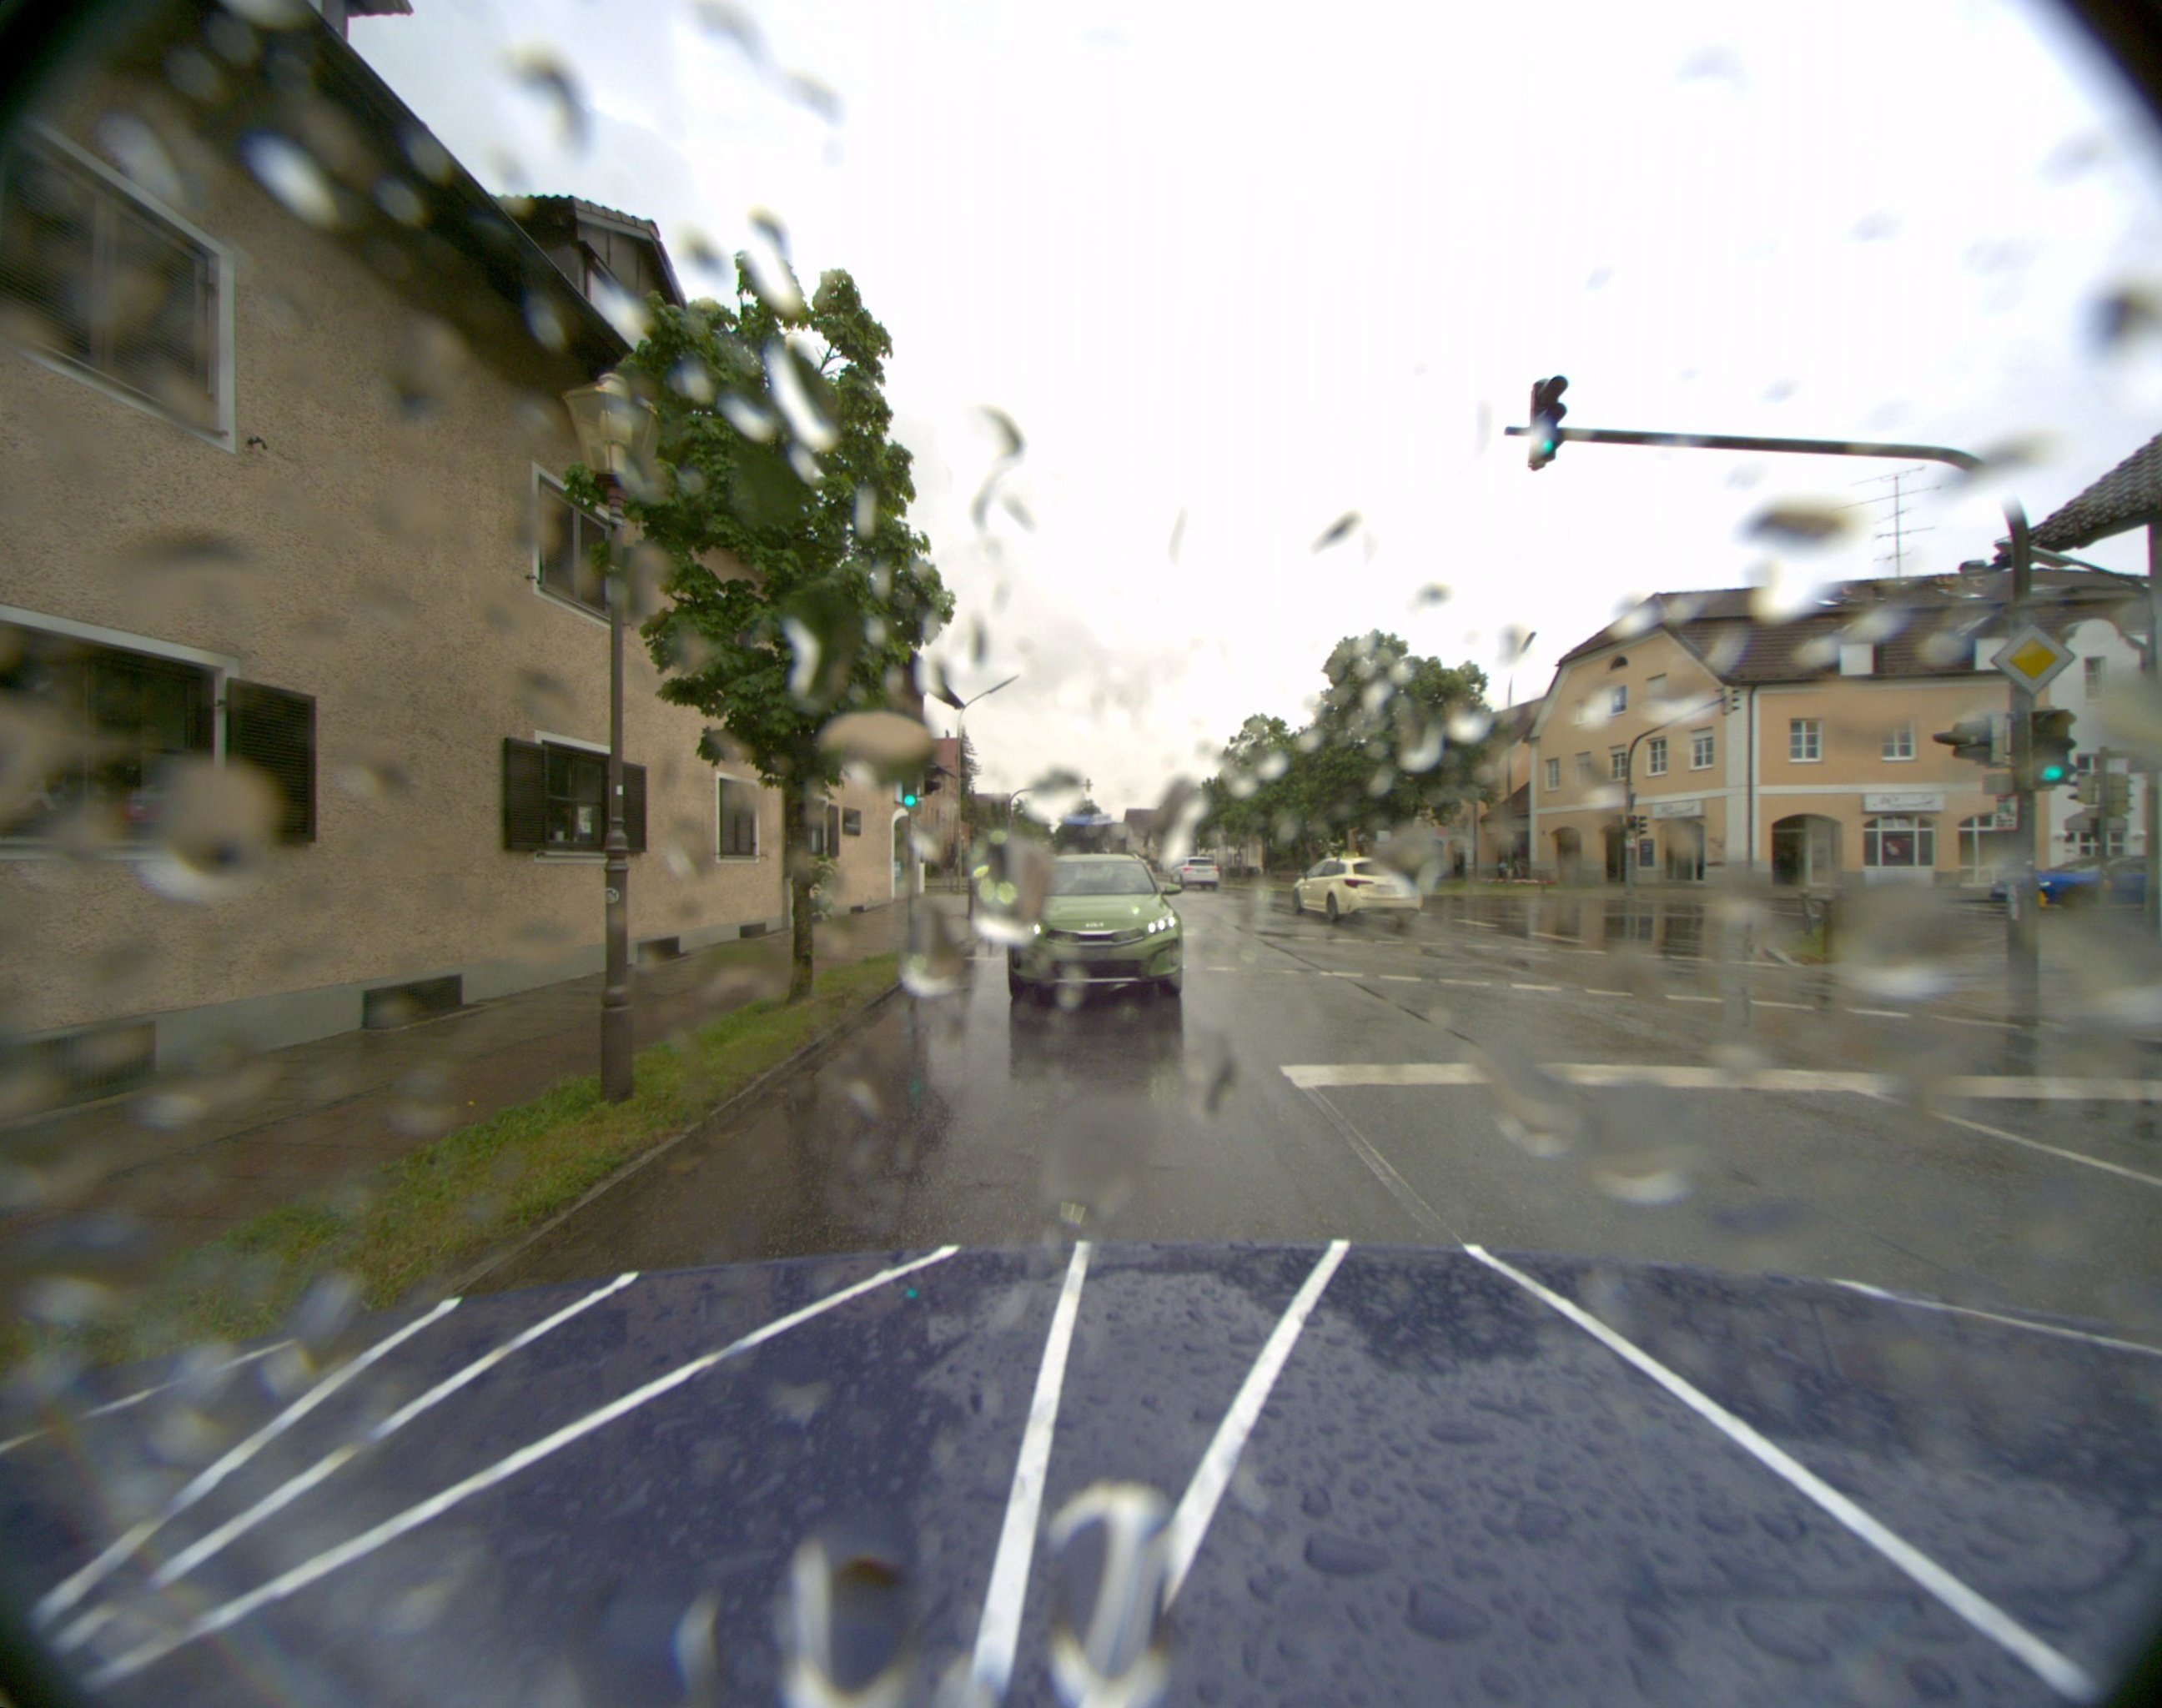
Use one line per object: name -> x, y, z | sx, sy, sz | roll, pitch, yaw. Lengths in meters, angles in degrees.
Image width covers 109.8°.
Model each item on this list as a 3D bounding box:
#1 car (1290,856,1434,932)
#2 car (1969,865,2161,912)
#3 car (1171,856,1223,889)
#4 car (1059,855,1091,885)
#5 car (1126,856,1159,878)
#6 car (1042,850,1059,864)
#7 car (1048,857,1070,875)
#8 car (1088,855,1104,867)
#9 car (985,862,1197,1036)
car -> 6.324, 0.822, 17.650 | 1.756, 1.502, 4.230 | 1, 0, 0
car -> 27.203, 0.896, 20.289 | 4.352, 1.178, 1.691 | 0, 0, 15
car -> 5.711, 0.880, 37.863 | 1.931, 1.557, 4.125 | 0, 0, -1
car -> -0.279, 0.830, 41.084 | 1.637, 1.508, 4.000 | 1, 0, 1
car -> 4.654, 0.988, 58.197 | 1.972, 1.553, 4.150 | 1, 0, -3
car -> -4.495, 0.465, 112.046 | 2.218, 1.977, 4.952 | 1, 0, -5
car -> -1.949, 1.084, 68.563 | 1.839, 1.508, 4.669 | 1, 0, 1
car -> 1.965, 0.896, 102.113 | 1.921, 1.524, 3.898 | 0, 0, -2
car -> 0.123, 0.883, 8.893 | 1.872, 1.504, 4.105 | -2, 0, 1
